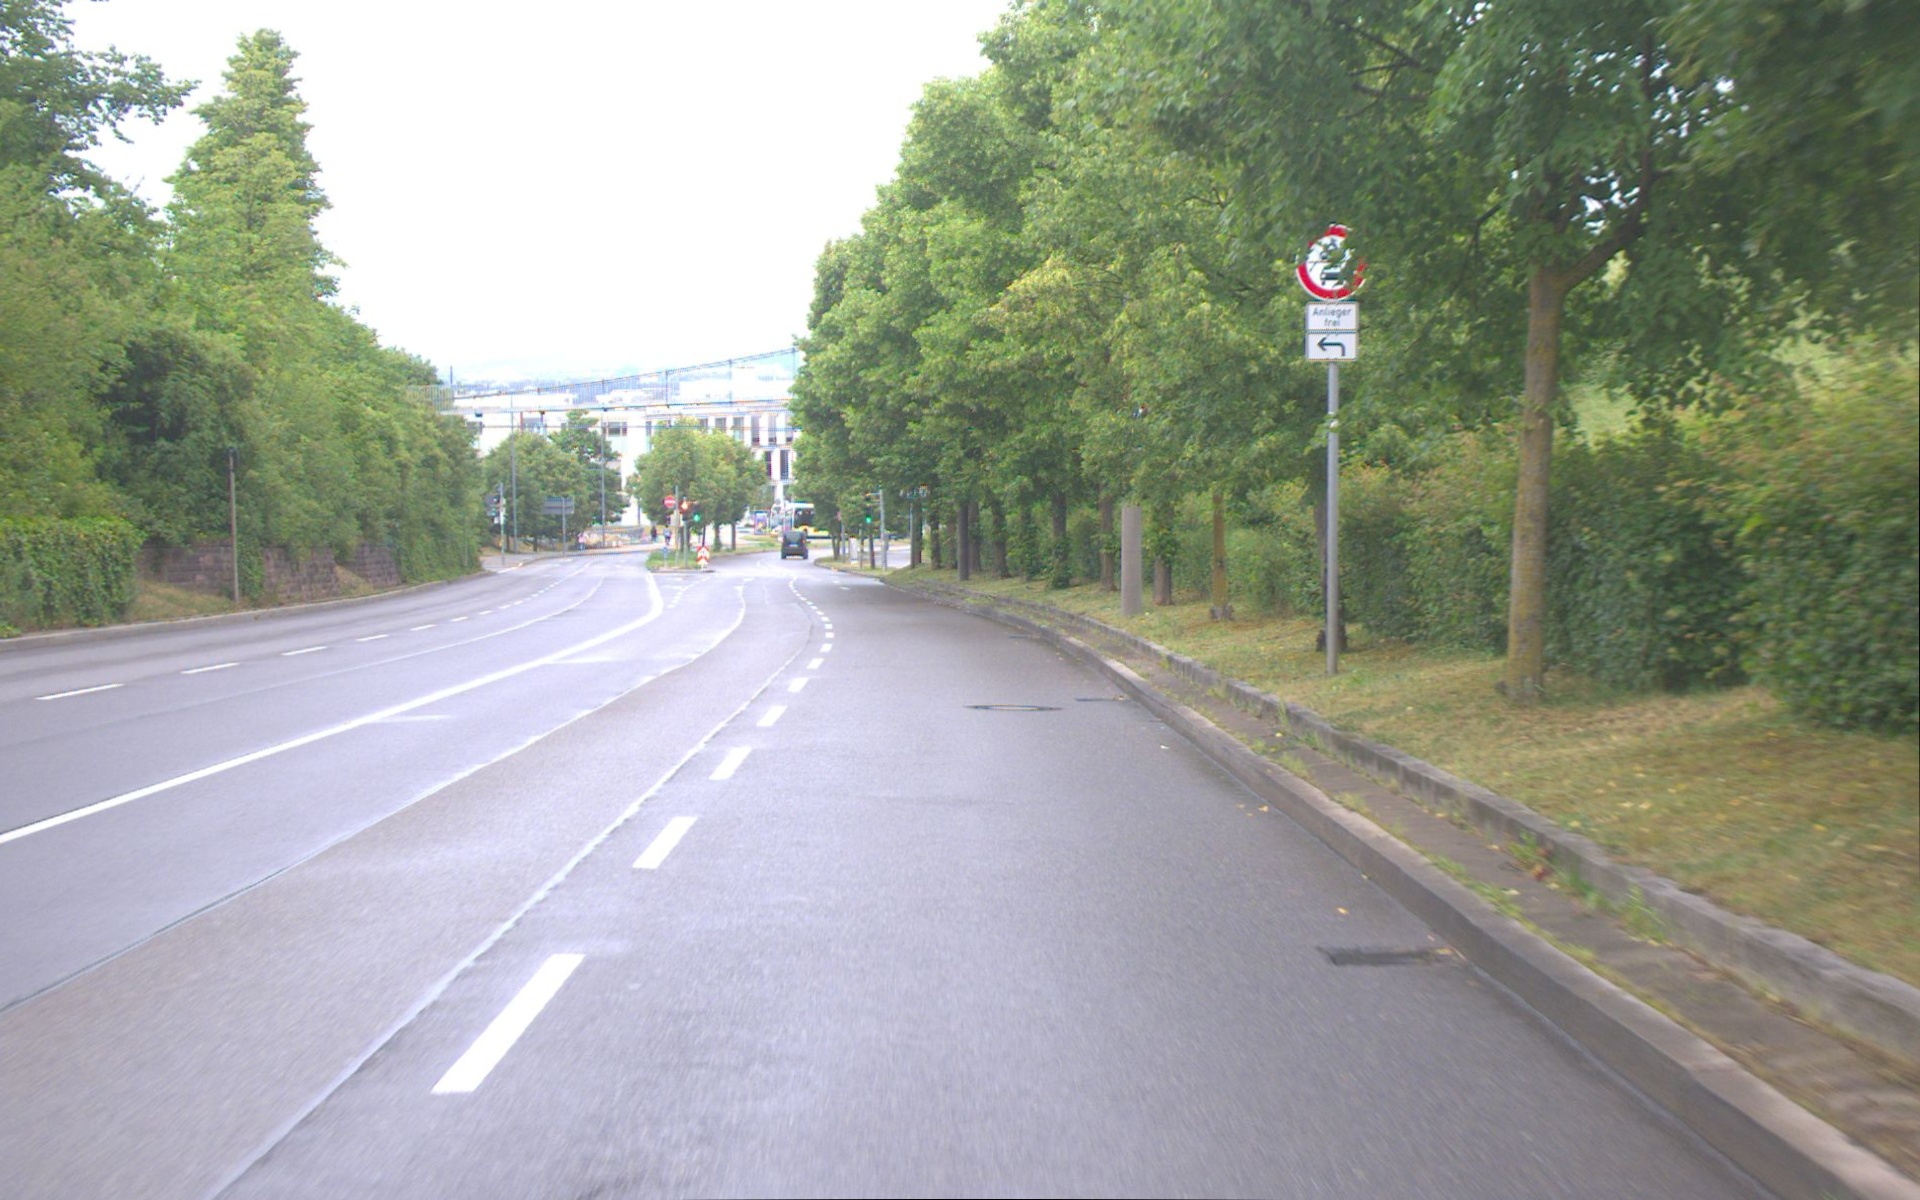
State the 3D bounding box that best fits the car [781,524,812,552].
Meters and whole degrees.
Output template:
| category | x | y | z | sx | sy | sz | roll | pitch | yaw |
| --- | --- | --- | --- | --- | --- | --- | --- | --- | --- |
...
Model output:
| category | x | y | z | sx | sy | sz | roll | pitch | yaw |
| --- | --- | --- | --- | --- | --- | --- | --- | --- | --- |
| car | -10.781 | -4.070 | 226.683 | 1.849 | 1.696 | 3.793 | 1 | 0 | -1 |
